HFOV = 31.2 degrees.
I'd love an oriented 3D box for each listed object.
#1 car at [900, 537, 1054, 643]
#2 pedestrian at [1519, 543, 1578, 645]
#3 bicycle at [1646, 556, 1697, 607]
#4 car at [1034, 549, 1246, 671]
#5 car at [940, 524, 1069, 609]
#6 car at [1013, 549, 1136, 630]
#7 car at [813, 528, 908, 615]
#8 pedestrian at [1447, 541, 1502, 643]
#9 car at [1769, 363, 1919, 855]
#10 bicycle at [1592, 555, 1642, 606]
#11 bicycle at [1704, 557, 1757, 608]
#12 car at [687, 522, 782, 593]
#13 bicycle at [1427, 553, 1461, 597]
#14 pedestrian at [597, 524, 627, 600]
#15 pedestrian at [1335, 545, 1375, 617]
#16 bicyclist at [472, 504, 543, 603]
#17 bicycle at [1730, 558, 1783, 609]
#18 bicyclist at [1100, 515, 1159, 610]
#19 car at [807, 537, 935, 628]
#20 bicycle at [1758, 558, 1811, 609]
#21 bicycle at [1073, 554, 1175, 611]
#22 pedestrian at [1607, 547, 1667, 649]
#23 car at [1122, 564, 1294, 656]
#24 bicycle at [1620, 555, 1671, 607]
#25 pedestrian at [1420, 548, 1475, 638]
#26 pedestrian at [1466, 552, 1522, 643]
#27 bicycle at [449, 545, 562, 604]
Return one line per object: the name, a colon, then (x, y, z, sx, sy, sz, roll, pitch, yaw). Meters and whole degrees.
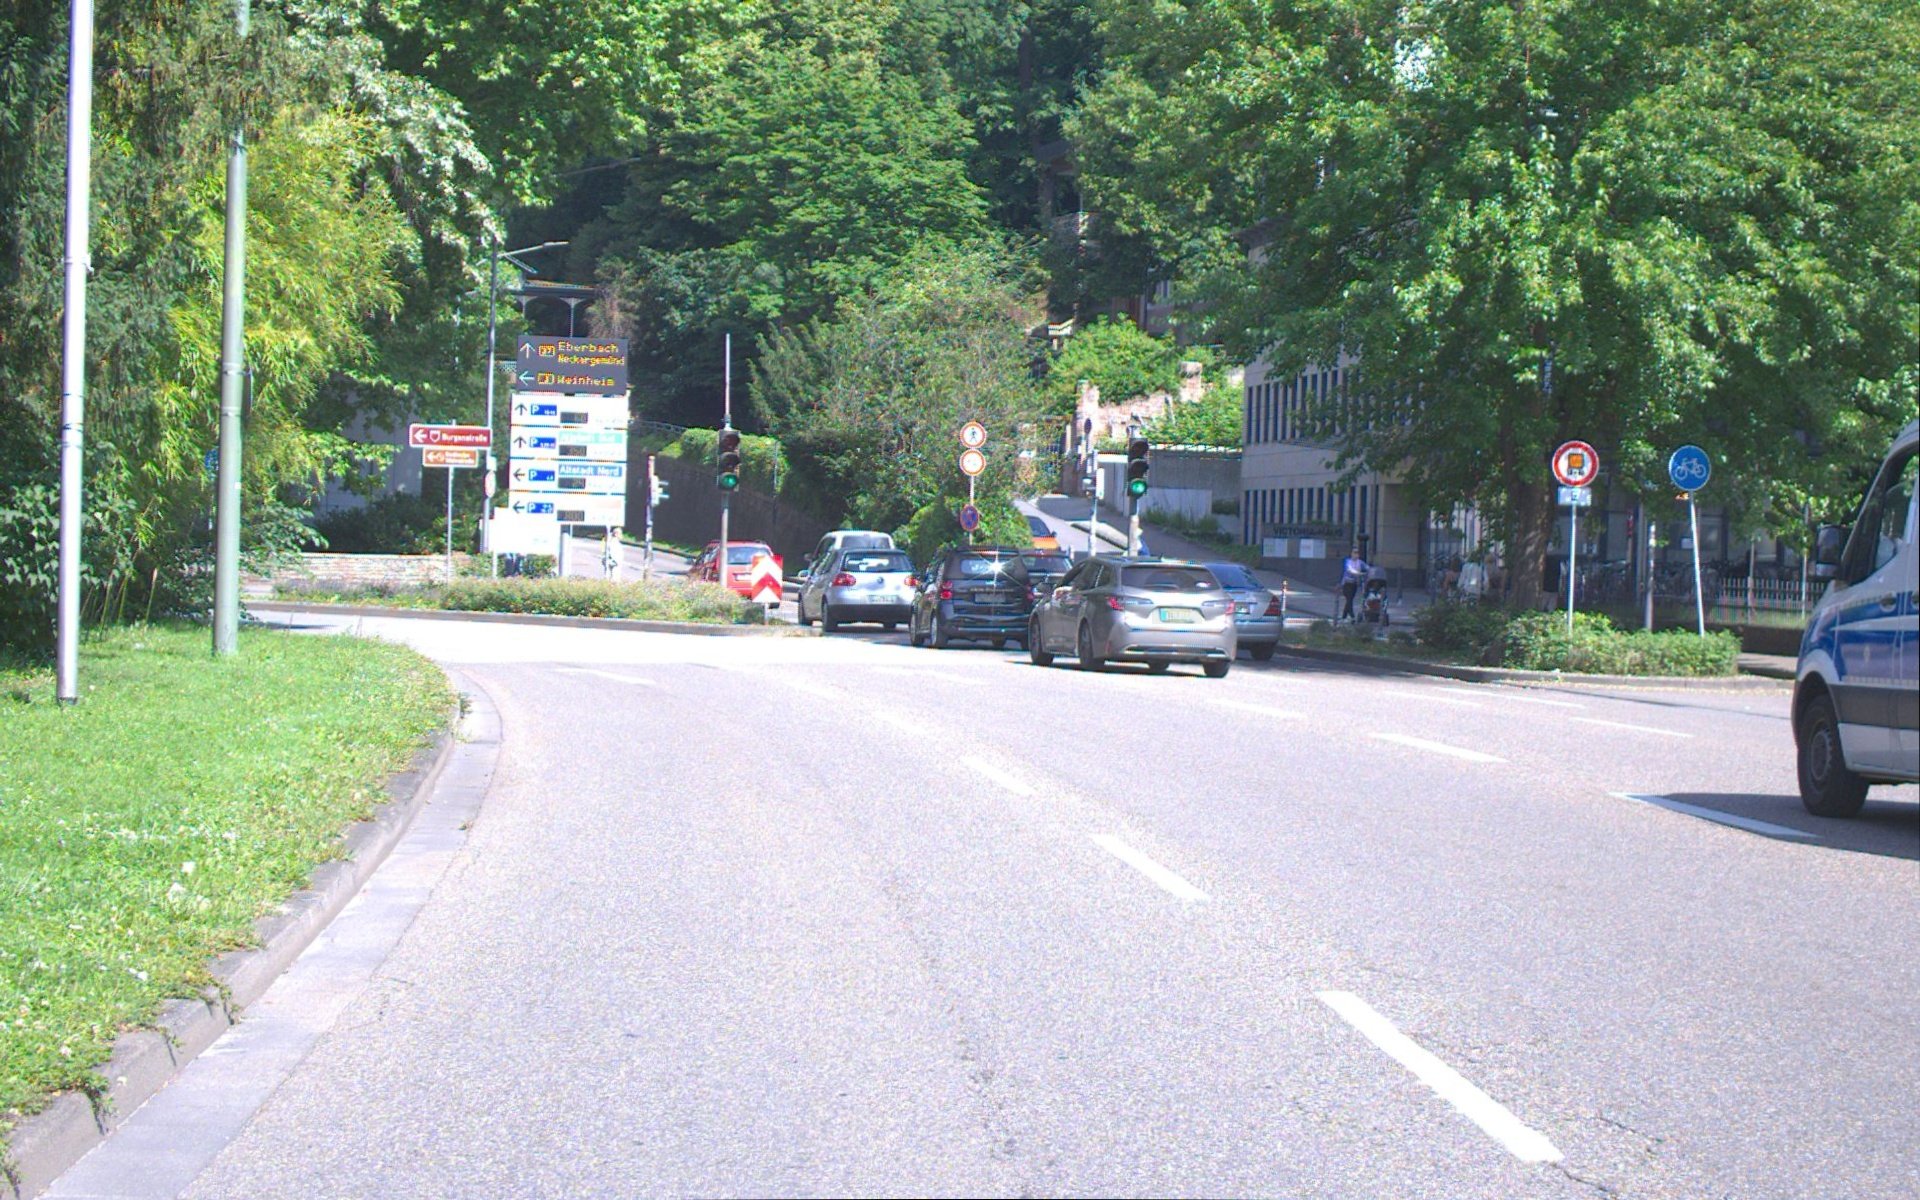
car: (0.225, -0.176, 52.057, 1.755, 1.456, 3.495, 2, 1, -9)
pedestrian: (10.838, -0.113, 63.288, 0.771, 1.848, 0.830, 2, 1, -9)
bicycle: (15.666, -0.416, 75.700, 0.537, 1.081, 1.835, 1, 1, -6)
car: (2.140, 0.089, 41.972, 1.755, 1.329, 3.803, 2, 1, -9)
car: (0.796, -0.633, 63.562, 1.755, 1.456, 3.647, 2, 1, -9)
car: (2.218, -0.220, 67.396, 1.755, 1.456, 3.495, 2, 1, -9)
car: (-2.366, -0.699, 80.975, 1.755, 1.931, 3.495, 2, 1, -9)
pedestrian: (9.518, -0.159, 63.614, 0.771, 1.848, 0.829, 2, 1, -6)
car: (5.908, 0.070, 17.688, 2.073, 2.500, 4.930, 2, 1, -2)
bicycle: (14.434, -0.438, 75.566, 0.537, 1.081, 1.835, 1, 1, -6)
bicycle: (16.968, -0.390, 75.745, 0.537, 1.081, 1.835, 1, 1, -6)
car: (-5.006, -0.957, 76.087, 1.755, 1.456, 3.495, 2, 1, -9)
bicycle: (11.348, -0.590, 80.653, 0.405, 1.009, 1.341, 1, 1, -8)
pedestrian: (-7.499, -0.824, 74.104, 0.547, 1.615, 0.634, 1, 1, 1)
pedestrian: (8.099, -0.388, 70.495, 0.489, 1.453, 0.734, 1, 1, -20)
bicyclist: (-8.987, -0.918, 68.319, 1.127, 1.926, 0.747, 2, 1, 17)
bicycle: (17.560, -0.380, 75.833, 0.537, 1.081, 1.835, 1, 1, -6)
bicyclist: (3.518, -0.769, 71.269, 1.126, 1.926, 0.748, 2, 1, 4)
car: (-1.587, -0.326, 60.177, 1.755, 1.456, 3.647, 2, 1, -9)
bicycle: (18.201, -0.368, 75.922, 0.537, 1.081, 1.835, 1, 1, -6)
bicycle: (3.407, -0.366, 71.283, 2.077, 1.109, 0.757, 2, 1, 4)
pedestrian: (12.441, -0.042, 63.224, 0.771, 1.848, 0.830, 2, 1, -9)
car: (3.626, 0.123, 50.813, 1.755, 1.209, 3.495, 2, 1, -9)
bicycle: (15.075, -0.426, 75.628, 0.537, 1.081, 1.835, 1, 1, -6)
pedestrian: (9.188, -0.137, 64.811, 0.771, 1.657, 0.830, 2, 1, -7)
pedestrian: (10.006, -0.051, 64.412, 0.771, 1.657, 0.829, 2, 1, -7)
bicycle: (-9.032, -0.509, 68.333, 2.078, 1.109, 0.756, 2, 1, 17)
